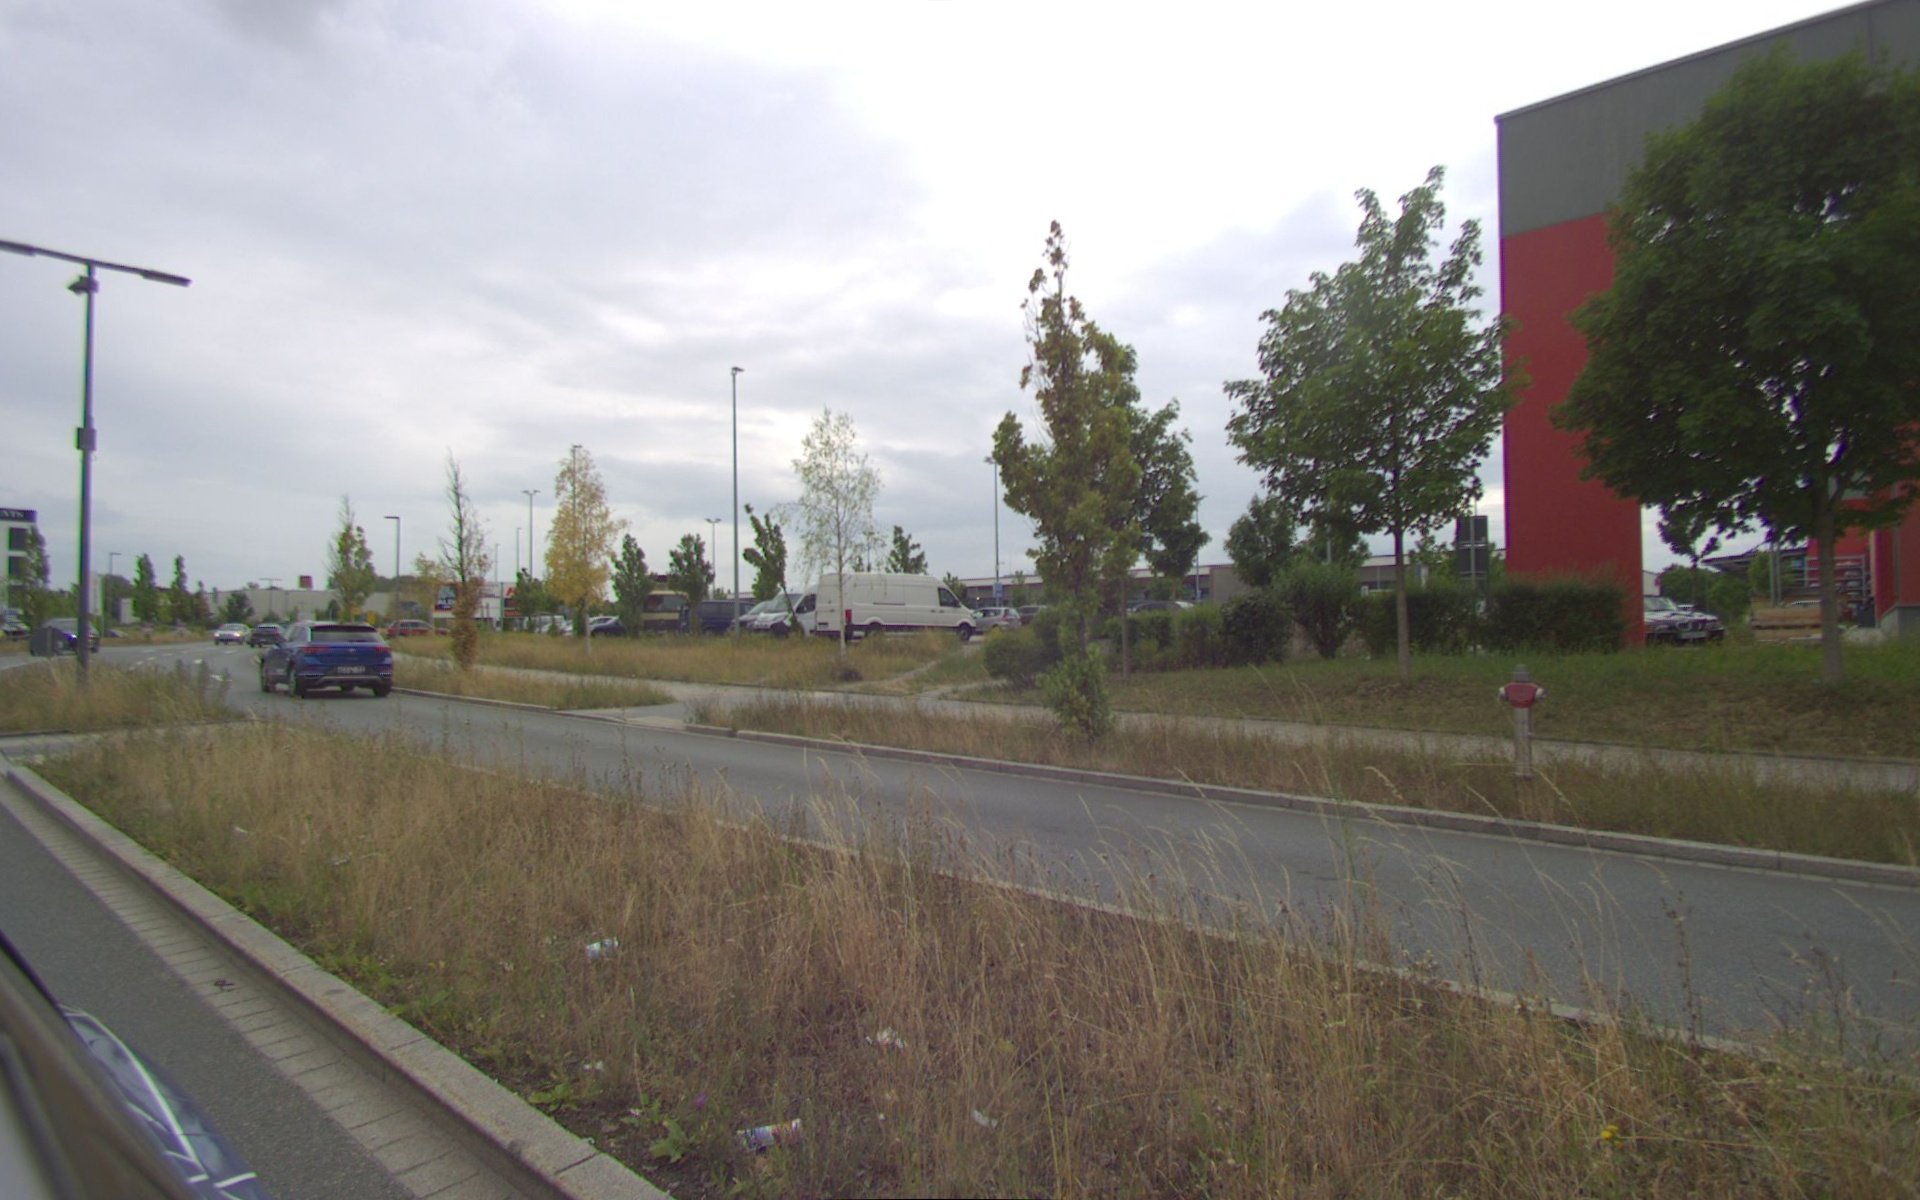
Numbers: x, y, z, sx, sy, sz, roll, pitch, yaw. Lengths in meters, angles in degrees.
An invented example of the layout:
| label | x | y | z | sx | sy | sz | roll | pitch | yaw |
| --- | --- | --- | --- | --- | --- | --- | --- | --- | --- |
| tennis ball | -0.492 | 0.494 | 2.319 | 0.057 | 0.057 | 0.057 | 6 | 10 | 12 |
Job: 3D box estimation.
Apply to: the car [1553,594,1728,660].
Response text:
| label | x | y | z | sx | sy | sz | roll | pitch | yaw |
| --- | --- | --- | --- | --- | --- | --- | --- | --- | --- |
| car | 14.109 | 0.532 | 21.039 | 2.860 | 1.279 | 1.245 | -1 | 0 | 43 |

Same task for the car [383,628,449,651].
| label | x | y | z | sx | sy | sz | roll | pitch | yaw |
| --- | --- | --- | --- | --- | --- | --- | --- | --- | --- |
| car | -39.061 | 2.810 | 72.693 | 3.936 | 1.475 | 1.740 | -1 | 0 | -39 |

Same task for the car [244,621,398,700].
| label | x | y | z | sx | sy | sz | roll | pitch | yaw |
| --- | --- | --- | --- | --- | --- | --- | --- | --- | --- |
| car | -13.593 | 1.232 | 21.461 | 3.998 | 1.524 | 1.711 | -2 | -3 | 41 |

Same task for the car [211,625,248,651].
| label | x | y | z | sx | sy | sz | roll | pitch | yaw |
| --- | --- | --- | --- | --- | --- | --- | --- | --- | --- |
| car | -51.814 | 2.719 | 71.846 | 1.966 | 1.683 | 4.010 | -1 | -2 | -33 |

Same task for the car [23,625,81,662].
| label | x | y | z | sx | sy | sz | roll | pitch | yaw |
| --- | --- | --- | --- | --- | --- | --- | --- | --- | --- |
| car | -44.533 | 2.137 | 49.721 | 1.834 | 1.683 | 4.008 | -1 | -2 | -38 |

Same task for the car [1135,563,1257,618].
| label | x | y | z | sx | sy | sz | roll | pitch | yaw |
| --- | --- | --- | --- | --- | --- | --- | --- | --- | --- |
| car | 10.746 | -0.391 | 46.351 | 5.049 | 2.391 | 2.039 | -1 | 0 | 38 |

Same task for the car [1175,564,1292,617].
| label | x | y | z | sx | sy | sz | roll | pitch | yaw |
| --- | --- | --- | --- | --- | --- | --- | --- | --- | --- |
| car | 13.178 | -0.426 | 48.884 | 5.049 | 2.391 | 2.039 | -1 | 0 | 38 |

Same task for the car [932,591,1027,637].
| label | x | y | z | sx | sy | sz | roll | pitch | yaw |
| --- | --- | --- | --- | --- | --- | --- | --- | --- | --- |
| car | 1.011 | 0.733 | 55.072 | 5.056 | 2.391 | 2.036 | -1 | 0 | 42 |

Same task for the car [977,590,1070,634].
| label | x | y | z | sx | sy | sz | roll | pitch | yaw |
| --- | --- | --- | --- | --- | --- | --- | --- | --- | --- |
| car | 3.547 | 0.684 | 57.362 | 5.056 | 2.391 | 2.036 | -1 | 0 | 42 |

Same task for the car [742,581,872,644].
| label | x | y | z | sx | sy | sz | roll | pitch | yaw |
| --- | --- | --- | --- | --- | --- | --- | --- | --- | --- |
| car | -6.051 | 0.454 | 40.506 | 2.064 | 2.391 | 4.988 | -1 | 0 | 41 |

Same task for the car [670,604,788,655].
| label | x | y | z | sx | sy | sz | roll | pitch | yaw |
| --- | --- | --- | --- | --- | --- | --- | --- | --- | --- |
| car | -10.624 | 1.365 | 46.809 | 4.979 | 2.240 | 2.067 | 1 | -3 | -42 |

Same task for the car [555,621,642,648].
| label | x | y | z | sx | sy | sz | roll | pitch | yaw |
| --- | --- | --- | --- | --- | --- | --- | --- | --- | --- |
| car | -23.500 | 2.244 | 65.912 | 4.976 | 1.669 | 2.068 | 1 | -2 | -39 |

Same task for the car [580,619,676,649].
| label | x | y | z | sx | sy | sz | roll | pitch | yaw |
| --- | --- | --- | --- | --- | --- | --- | --- | --- | --- |
| car | -19.394 | 1.976 | 59.253 | 4.976 | 1.669 | 2.068 | 1 | -2 | -39 |

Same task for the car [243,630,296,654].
| label | x | y | z | sx | sy | sz | roll | pitch | yaw |
| --- | --- | --- | --- | --- | --- | --- | --- | --- | --- |
| car | -44.808 | 2.686 | 65.763 | 1.705 | 1.504 | 4.011 | 0 | -2 | -16 |

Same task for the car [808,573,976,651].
| label | x | y | z | sx | sy | sz | roll | pitch | yaw |
| --- | --- | --- | --- | --- | --- | --- | --- | --- | --- |
| car | -2.382 | 0.378 | 37.092 | 2.066 | 2.644 | 6.326 | -1 | 0 | 45 |
